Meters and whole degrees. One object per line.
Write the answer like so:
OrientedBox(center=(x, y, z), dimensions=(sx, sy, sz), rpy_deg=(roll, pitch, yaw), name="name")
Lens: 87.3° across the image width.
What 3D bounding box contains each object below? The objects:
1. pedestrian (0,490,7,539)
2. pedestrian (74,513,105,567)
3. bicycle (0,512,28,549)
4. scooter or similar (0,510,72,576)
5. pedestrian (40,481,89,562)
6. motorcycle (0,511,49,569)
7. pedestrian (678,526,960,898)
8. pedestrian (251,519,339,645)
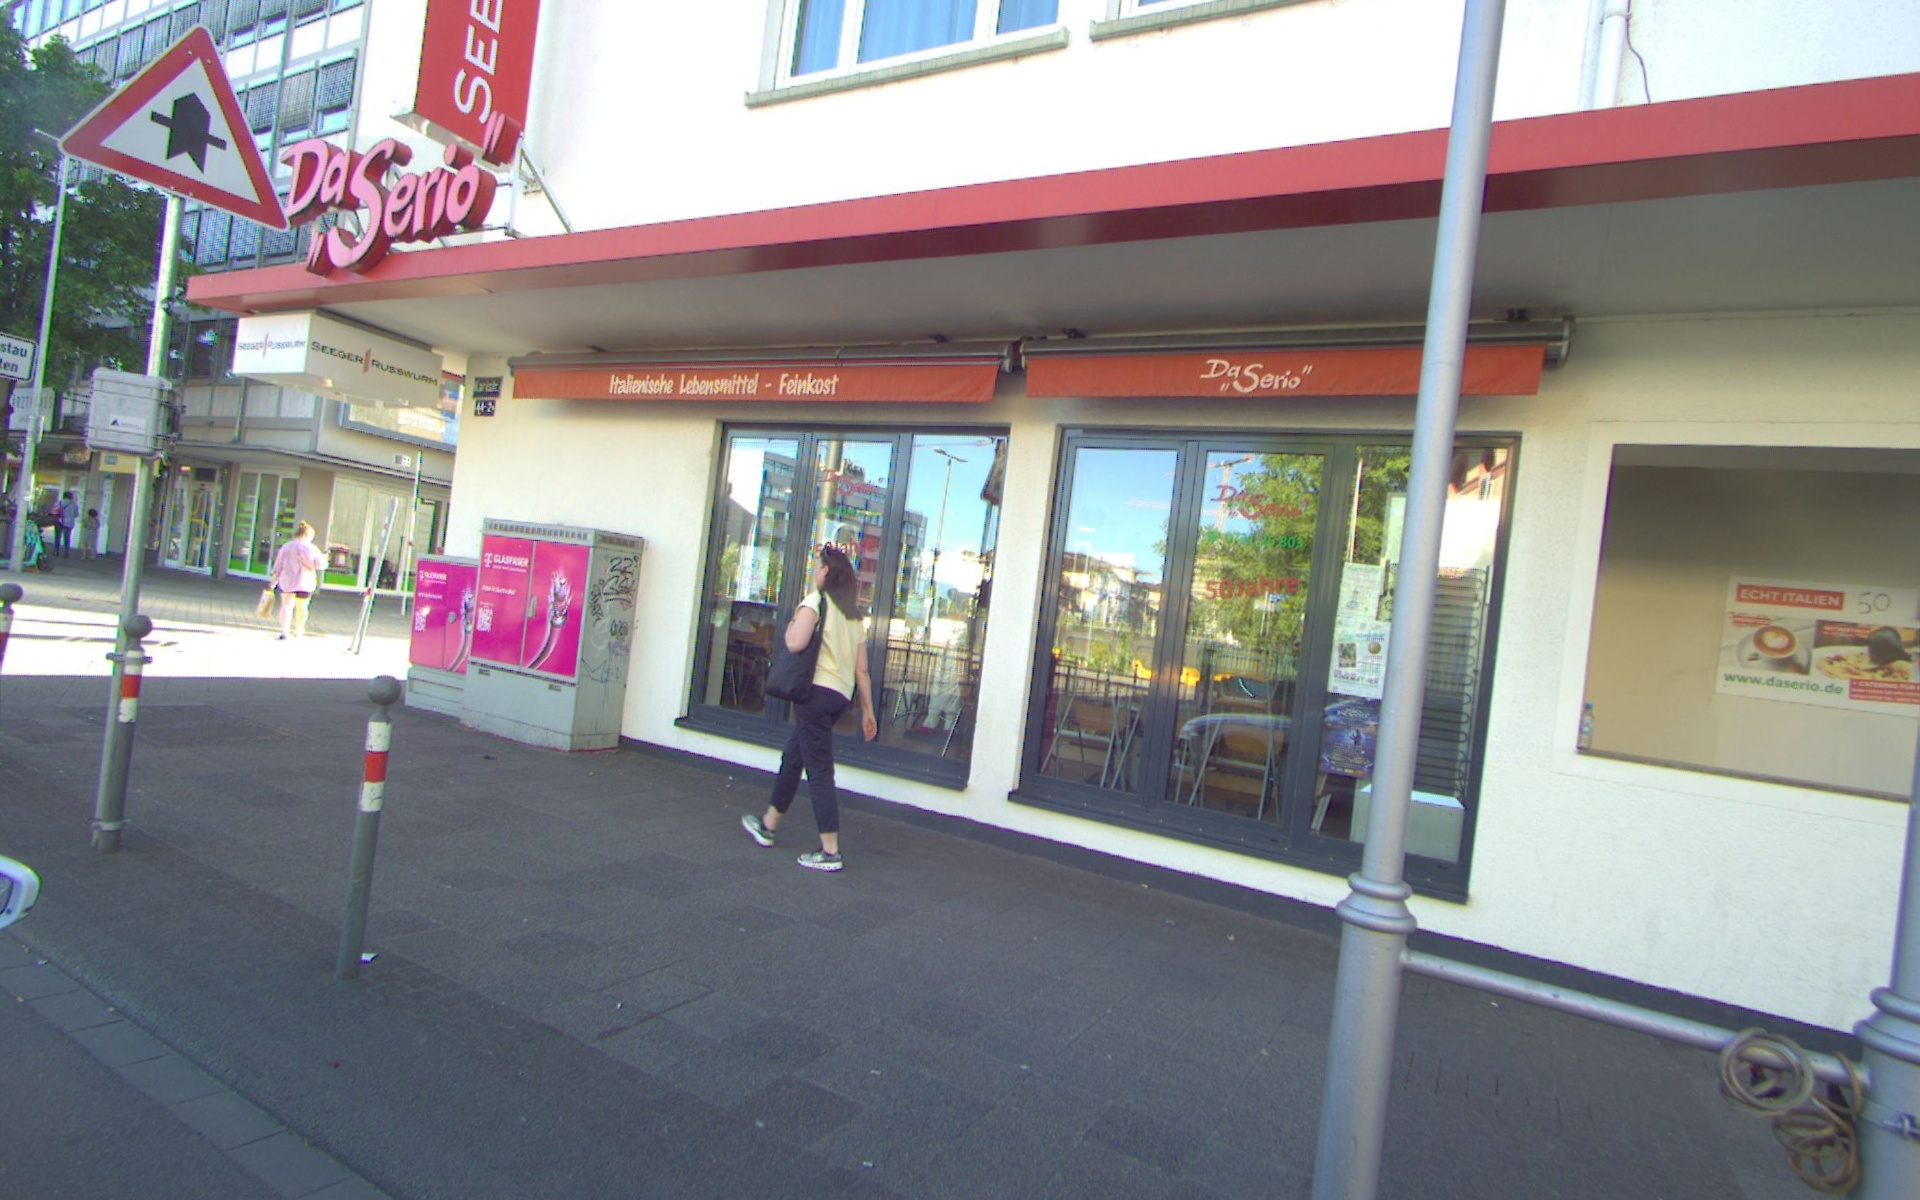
OrientedBox(center=(-29.622, -2.538, 30.709), dimensions=(0.397, 1.730, 0.526), rpy_deg=(6, -1, 36), name="pedestrian")
OrientedBox(center=(-23.520, -1.621, 27.170), dimensions=(0.504, 1.359, 0.390), rpy_deg=(6, -1, 34), name="pedestrian")
OrientedBox(center=(-29.093, -2.139, 30.920), dimensions=(1.237, 1.046, 0.332), rpy_deg=(6, -1, 36), name="bicycle")
OrientedBox(center=(-19.936, -1.234, 21.178), dimensions=(1.628, 1.229, 0.640), rpy_deg=(8, -1, -29), name="scooter or similar")
OrientedBox(center=(-23.871, -2.099, 26.827), dimensions=(0.570, 2.037, 0.663), rpy_deg=(6, -1, 34), name="pedestrian")
OrientedBox(center=(-21.565, -1.412, 22.408), dimensions=(0.532, 1.186, 1.711), rpy_deg=(7, -2, 30), name="motorcycle")
OrientedBox(center=(-0.764, 0.573, 5.606), dimensions=(1.020, 1.773, 0.916), rpy_deg=(7, 0, 28), name="pedestrian")
OrientedBox(center=(-9.733, -0.260, 14.735), dimensions=(0.884, 1.687, 0.801), rpy_deg=(8, -1, -35), name="pedestrian")
